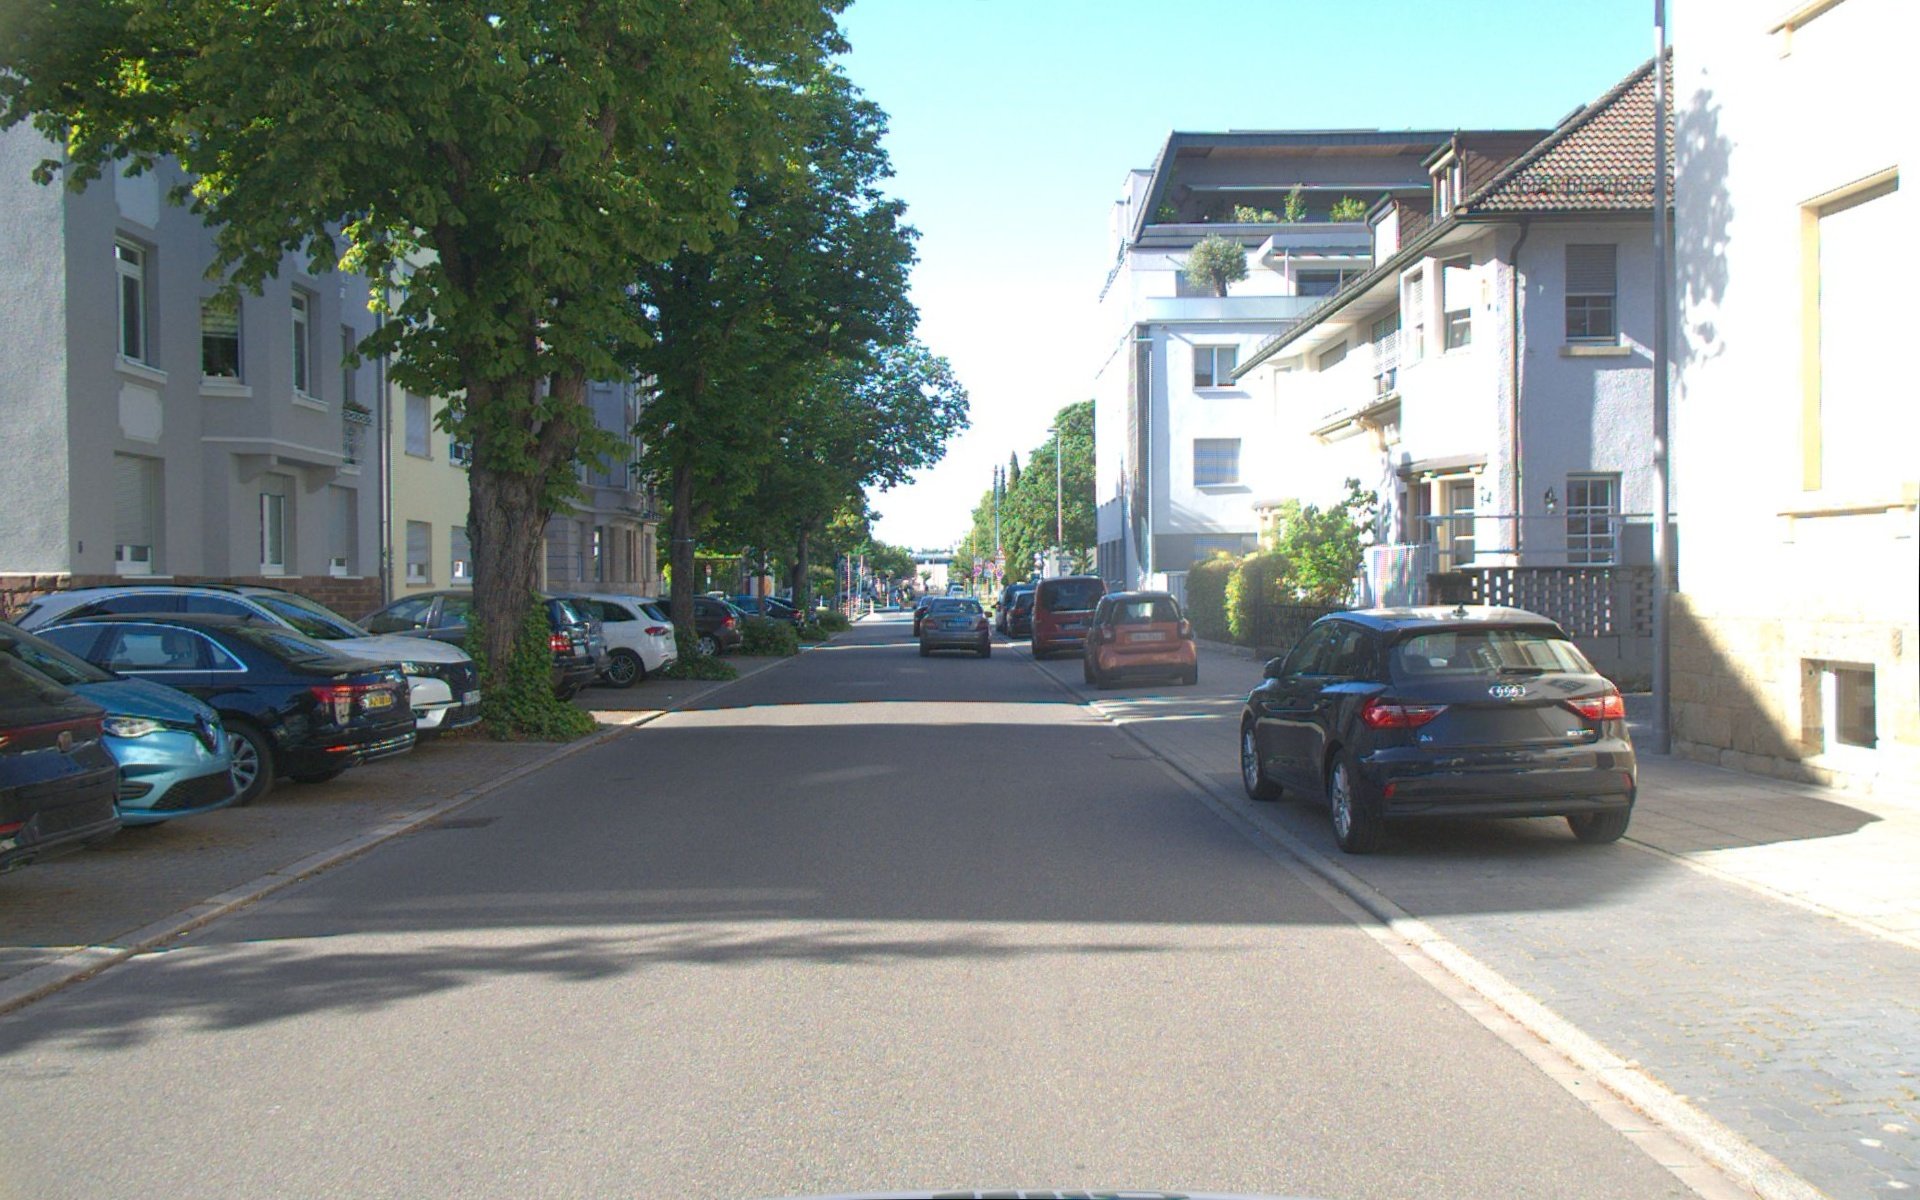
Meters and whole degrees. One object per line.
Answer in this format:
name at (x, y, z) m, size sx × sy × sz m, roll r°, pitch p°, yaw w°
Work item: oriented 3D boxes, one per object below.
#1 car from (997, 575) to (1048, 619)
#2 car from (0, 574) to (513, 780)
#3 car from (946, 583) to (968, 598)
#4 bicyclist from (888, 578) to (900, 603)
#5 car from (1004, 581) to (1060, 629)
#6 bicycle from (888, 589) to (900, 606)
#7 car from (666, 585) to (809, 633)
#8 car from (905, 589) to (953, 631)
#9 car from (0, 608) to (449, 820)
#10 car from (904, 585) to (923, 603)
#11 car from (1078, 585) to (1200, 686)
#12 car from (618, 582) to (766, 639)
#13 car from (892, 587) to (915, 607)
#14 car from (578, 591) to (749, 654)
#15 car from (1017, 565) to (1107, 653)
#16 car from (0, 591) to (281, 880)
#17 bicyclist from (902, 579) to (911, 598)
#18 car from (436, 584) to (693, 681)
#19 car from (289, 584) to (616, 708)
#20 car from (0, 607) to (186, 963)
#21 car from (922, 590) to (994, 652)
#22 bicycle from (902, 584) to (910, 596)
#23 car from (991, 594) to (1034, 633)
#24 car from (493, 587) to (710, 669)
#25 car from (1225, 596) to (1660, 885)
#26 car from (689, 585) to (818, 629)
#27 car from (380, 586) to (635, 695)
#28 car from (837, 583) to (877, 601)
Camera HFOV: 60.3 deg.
car at (2.340, -0.087, 62.799) m, size 1.648 × 1.459 × 4.265 m, roll -5°, pitch 0°, yaw -1°
car at (-6.727, 0.685, 15.882) m, size 4.296 × 1.680 × 1.823 m, roll -2°, pitch 2°, yaw 0°
car at (-0.289, -0.892, 151.845) m, size 1.689 × 1.353 × 3.996 m, roll -1°, pitch 1°, yaw -5°
bicyclist at (-4.361, -0.628, 108.875) m, size 0.706 × 1.563 × 1.137 m, roll -1°, pitch 0°, yaw -1°
car at (2.445, 0.131, 56.963) m, size 1.701 × 1.558 × 4.178 m, roll -1°, pitch 1°, yaw -1°
bicycle at (-4.329, -0.146, 108.849) m, size 0.705 × 1.098 × 1.890 m, roll 1°, pitch 0°, yaw 0°
car at (-7.133, 0.296, 53.283) m, size 4.384 × 1.505 × 1.867 m, roll 0°, pitch 0°, yaw -3°
car at (-1.151, 0.370, 60.560) m, size 1.672 × 1.473 × 4.201 m, roll 1°, pitch 0°, yaw -1°
car at (-6.285, 0.860, 13.129) m, size 3.906 × 1.494 × 1.696 m, roll -1°, pitch 1°, yaw -2°
car at (-4.889, -0.631, 173.053) m, size 1.752 × 1.559 × 3.995 m, roll -4°, pitch -2°, yaw -5°
car at (2.934, 0.542, 27.627) m, size 1.560 × 1.506 × 3.247 m, roll -3°, pitch 1°, yaw -1°
car at (-7.706, 0.306, 47.865) m, size 4.094 × 1.526 × 1.996 m, roll 1°, pitch -1°, yaw -8°
car at (-5.159, -0.282, 149.461) m, size 1.836 × 1.758 × 3.996 m, roll -1°, pitch 1°, yaw -5°
car at (-7.237, 0.537, 40.634) m, size 3.906 × 1.446 × 1.771 m, roll 1°, pitch 2°, yaw -2°
car at (2.419, 0.201, 40.402) m, size 1.833 × 1.938 × 5.197 m, roll -2°, pitch 0°, yaw 0°
car at (-6.579, 0.795, 10.281) m, size 3.907 × 1.620 × 1.877 m, roll -1°, pitch 1°, yaw -3°
bicyclist at (-4.262, -0.922, 131.080) m, size 0.666 × 1.535 × 0.655 m, roll -1°, pitch 1°, yaw 0°
car at (-6.674, 0.536, 28.210) m, size 3.941 × 1.510 × 1.806 m, roll 1°, pitch 1°, yaw -2°
car at (-6.993, 0.605, 23.067) m, size 3.904 × 1.602 × 1.981 m, roll 1°, pitch 1°, yaw 2°
car at (-6.283, 0.852, 8.057) m, size 4.102 × 1.525 × 1.861 m, roll -1°, pitch 1°, yaw -2°
car at (-0.037, 0.526, 41.462) m, size 1.691 × 1.445 × 3.960 m, roll 1°, pitch 0°, yaw 0°
bicycle at (-4.272, -0.820, 131.054) m, size 0.577 × 0.948 × 1.850 m, roll -1°, pitch 1°, yaw 0°
car at (2.104, 0.547, 67.153) m, size 1.532 × 1.435 × 3.729 m, roll -5°, pitch 0°, yaw 0°
car at (-6.883, 0.538, 31.958) m, size 3.952 × 1.469 × 1.794 m, roll 1°, pitch -1°, yaw -12°
car at (3.012, 0.774, 11.187) m, size 1.587 × 1.464 × 3.933 m, roll -3°, pitch 1°, yaw -2°
car at (-7.332, 0.256, 59.050) m, size 4.384 × 1.505 × 1.867 m, roll 0°, pitch 0°, yaw -3°
car at (-7.002, 0.602, 25.818) m, size 3.442 × 1.602 × 1.771 m, roll 1°, pitch 1°, yaw 2°
car at (-8.984, -0.709, 144.075) m, size 3.428 × 1.560 × 1.642 m, roll -1°, pitch 1°, yaw -8°
